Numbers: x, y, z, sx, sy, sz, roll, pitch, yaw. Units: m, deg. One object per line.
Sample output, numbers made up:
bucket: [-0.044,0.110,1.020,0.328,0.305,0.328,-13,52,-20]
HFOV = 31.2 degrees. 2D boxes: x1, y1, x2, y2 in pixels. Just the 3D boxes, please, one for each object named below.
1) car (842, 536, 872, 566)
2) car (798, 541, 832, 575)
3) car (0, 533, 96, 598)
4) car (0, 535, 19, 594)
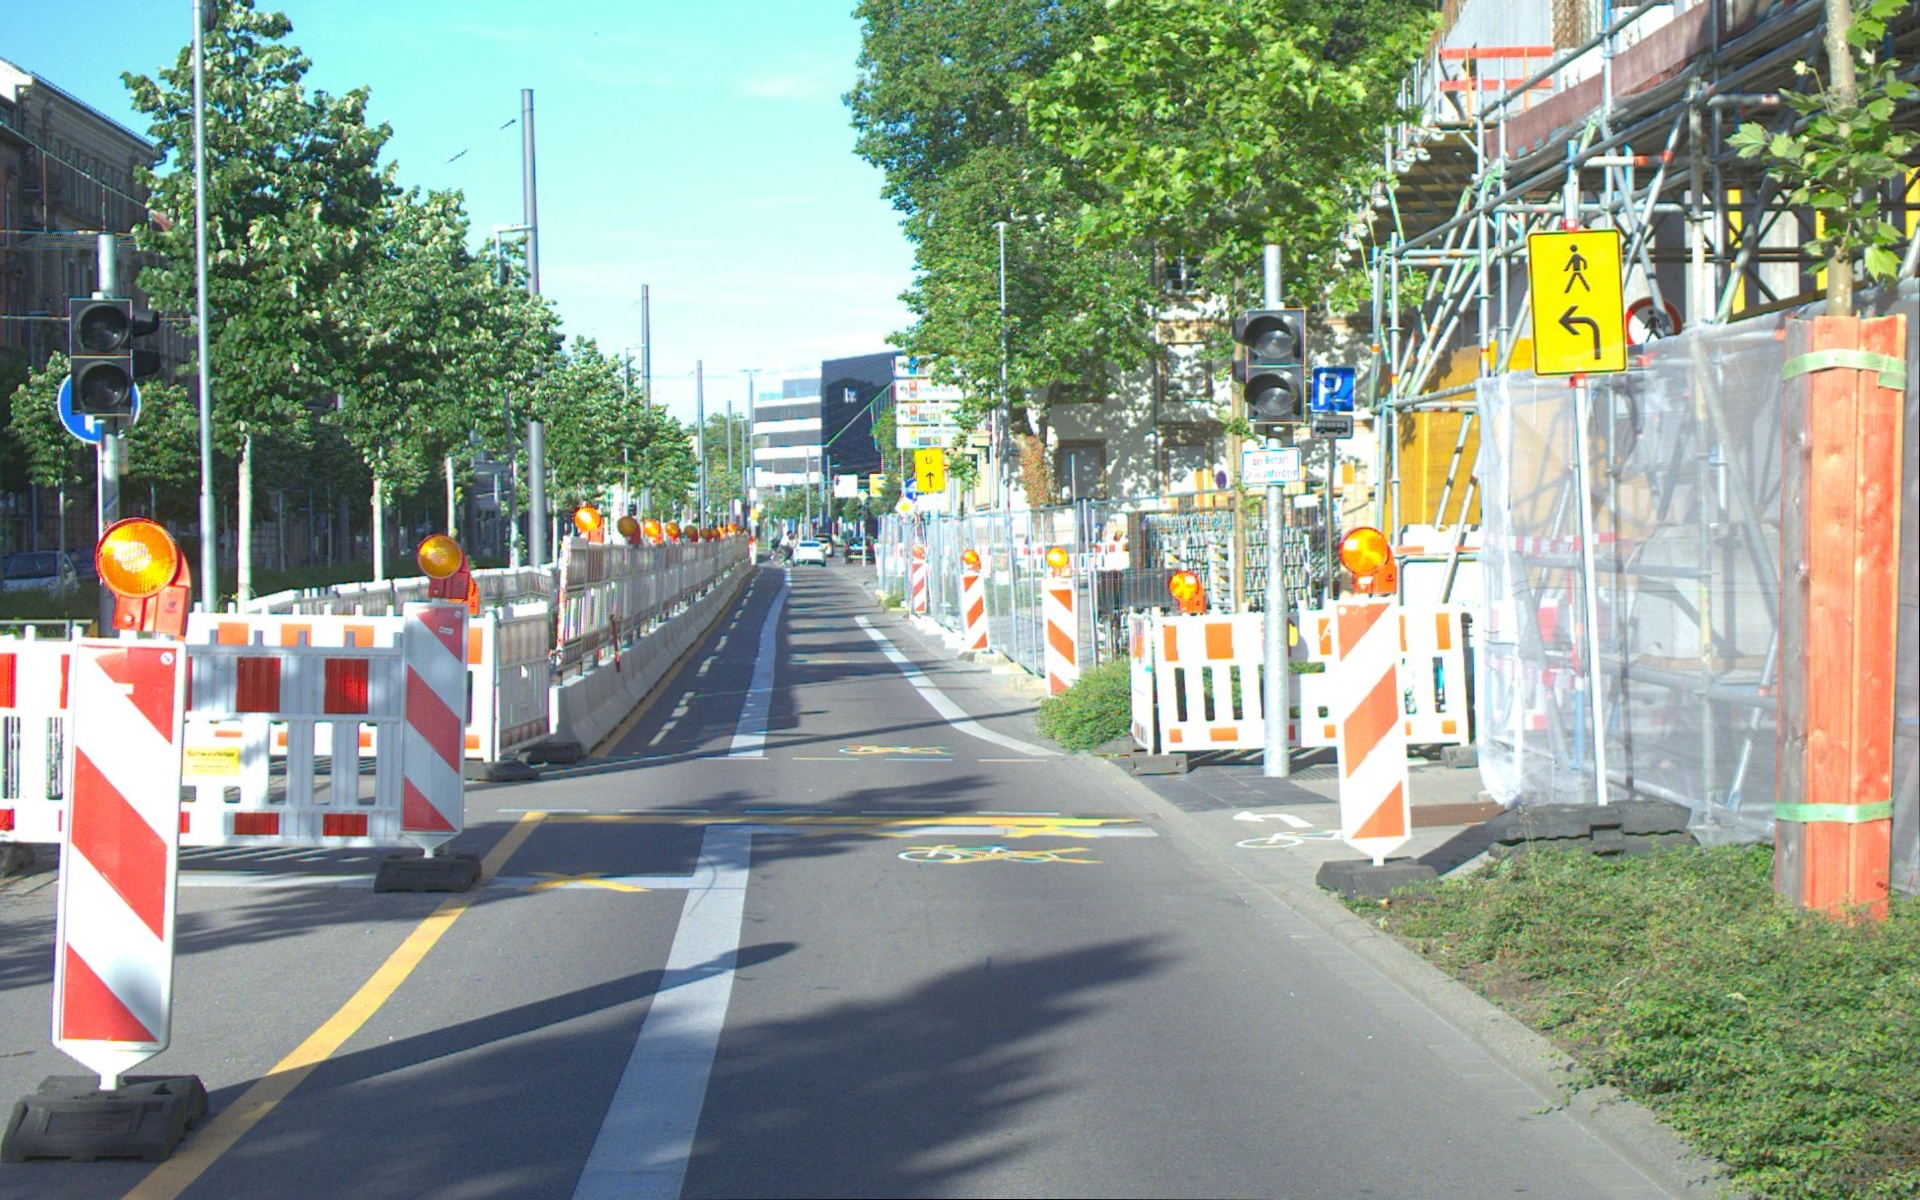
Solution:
car: [-6.667,-3.165,221.965,1.883,1.836,3.668,-1,1,-3]
car: [-8.143,-2.385,193.346,1.883,1.836,3.668,-1,1,-3]
car: [-21.746,-0.834,81.595,1.595,1.478,3.623,0,1,-1]
car: [-26.427,-0.927,91.705,1.566,1.557,4.715,-1,1,-3]
